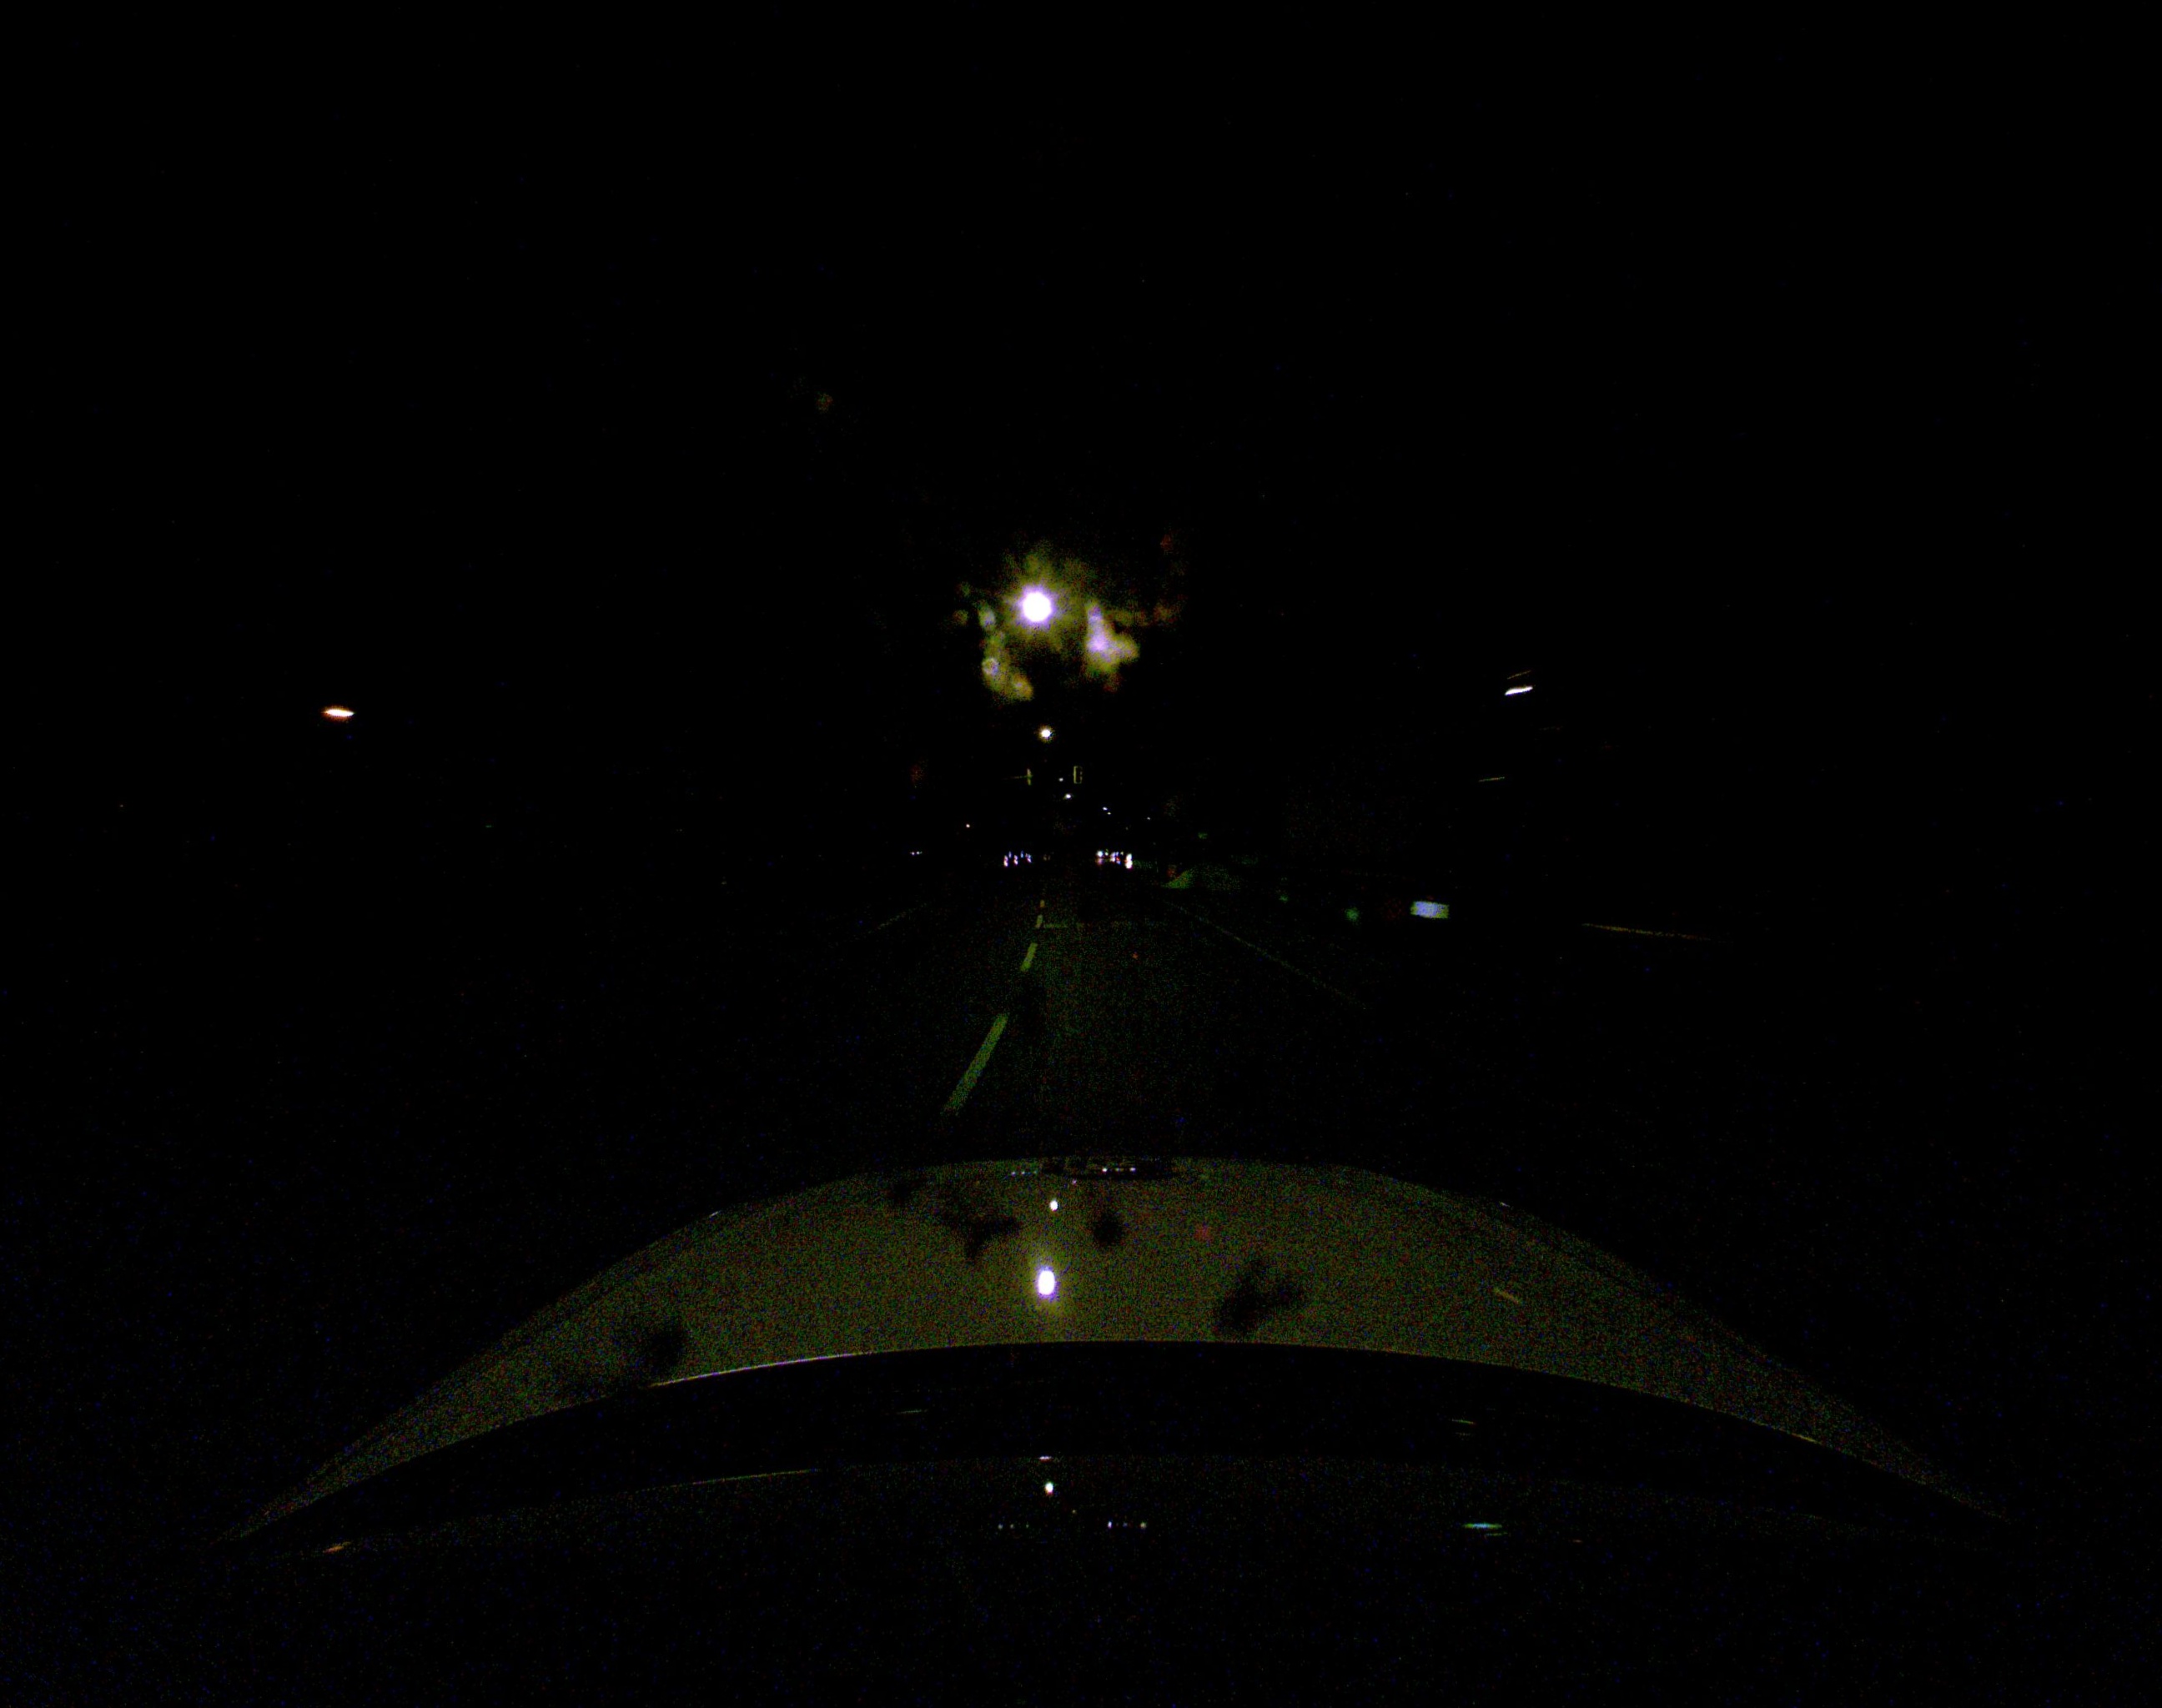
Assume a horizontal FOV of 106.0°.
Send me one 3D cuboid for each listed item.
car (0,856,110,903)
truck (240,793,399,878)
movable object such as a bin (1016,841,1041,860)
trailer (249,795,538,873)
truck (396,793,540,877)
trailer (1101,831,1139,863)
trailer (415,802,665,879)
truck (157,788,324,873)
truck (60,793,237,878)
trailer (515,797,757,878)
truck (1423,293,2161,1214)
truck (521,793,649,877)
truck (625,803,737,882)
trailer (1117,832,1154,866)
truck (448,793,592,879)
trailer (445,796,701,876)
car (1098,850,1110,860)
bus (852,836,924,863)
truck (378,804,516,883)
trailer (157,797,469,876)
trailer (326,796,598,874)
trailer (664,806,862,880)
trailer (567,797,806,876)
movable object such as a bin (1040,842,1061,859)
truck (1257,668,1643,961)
[{"bbox_3d":[-37.259,0.876,28.565,3.977,1.552,1.889,0,0,-2],"label":"car"},{"bbox_3d":[-41.928,-0.979,45.062,3.034,4.357,5.592,1,0,18],"label":"truck"},{"bbox_3d":[-6.986,-0.487,108.691,1.980,2.376,4.718,-2,0,12],"label":"movable object such as a bin"},{"bbox_3d":[-43.688,-1.177,53.181,3.034,4.357,15.072,1,0,18],"label":"trailer"},{"bbox_3d":[-33.881,-1.019,45.253,3.032,4.357,5.594,1,0,20],"label":"truck"},{"bbox_3d":[4.078,-0.711,85.722,3.474,3.219,4.858,1,-1,-4],"label":"trailer"},{"bbox_3d":[-34.816,-0.815,53.931,3.034,4.357,15.073,1,0,18],"label":"trailer"},{"bbox_3d":[-46.286,-1.242,45.050,3.034,4.357,5.592,1,0,18],"label":"truck"},{"bbox_3d":[-51.046,-0.966,44.797,3.034,4.357,5.592,1,0,18],"label":"truck"},{"bbox_3d":[-27.306,-0.936,51.712,3.032,4.357,15.080,1,0,21],"label":"trailer"},{"bbox_3d":[5.829,-0.425,6.006,2.746,3.783,9.136,-1,0,0],"label":"truck"},{"bbox_3d":[-26.316,-0.975,43.432,3.031,4.148,4.962,1,0,22],"label":"truck"},{"bbox_3d":[-21.053,-0.605,43.094,3.036,3.932,4.521,1,0,15],"label":"truck"},{"bbox_3d":[4.727,-0.409,71.400,2.608,2.845,4.703,1,-1,-4],"label":"trailer"},{"bbox_3d":[-30.192,-0.932,44.093,3.032,4.357,5.595,1,0,21],"label":"truck"},{"bbox_3d":[-31.358,-1.004,51.947,3.032,4.357,15.079,1,0,21],"label":"trailer"},{"bbox_3d":[4.006,0.243,141.450,1.686,1.576,2.965,-3,0,9],"label":"car"},{"bbox_3d":[-24.659,-0.649,105.131,2.989,3.204,12.731,-1,1,17],"label":"bus"},{"bbox_3d":[-36.871,-0.604,47.619,3.034,4.357,5.592,1,0,18],"label":"truck"},{"bbox_3d":[-48.489,-1.018,52.812,3.034,4.357,15.072,1,0,18],"label":"trailer"},{"bbox_3d":[-39.306,-1.132,53.221,3.034,4.357,15.072,1,0,18],"label":"trailer"},{"bbox_3d":[-18.948,-0.633,50.709,3.035,3.932,15.064,1,0,15],"label":"trailer"},{"bbox_3d":[-23.495,-0.949,50.416,3.031,4.148,15.083,1,0,22],"label":"trailer"},{"bbox_3d":[-4.481,-0.526,121.239,1.980,2.376,4.718,-2,0,12],"label":"movable object such as a bin"},{"bbox_3d":[5.940,-0.526,15.777,2.746,3.783,10.223,-1,0,0],"label":"truck"}]
